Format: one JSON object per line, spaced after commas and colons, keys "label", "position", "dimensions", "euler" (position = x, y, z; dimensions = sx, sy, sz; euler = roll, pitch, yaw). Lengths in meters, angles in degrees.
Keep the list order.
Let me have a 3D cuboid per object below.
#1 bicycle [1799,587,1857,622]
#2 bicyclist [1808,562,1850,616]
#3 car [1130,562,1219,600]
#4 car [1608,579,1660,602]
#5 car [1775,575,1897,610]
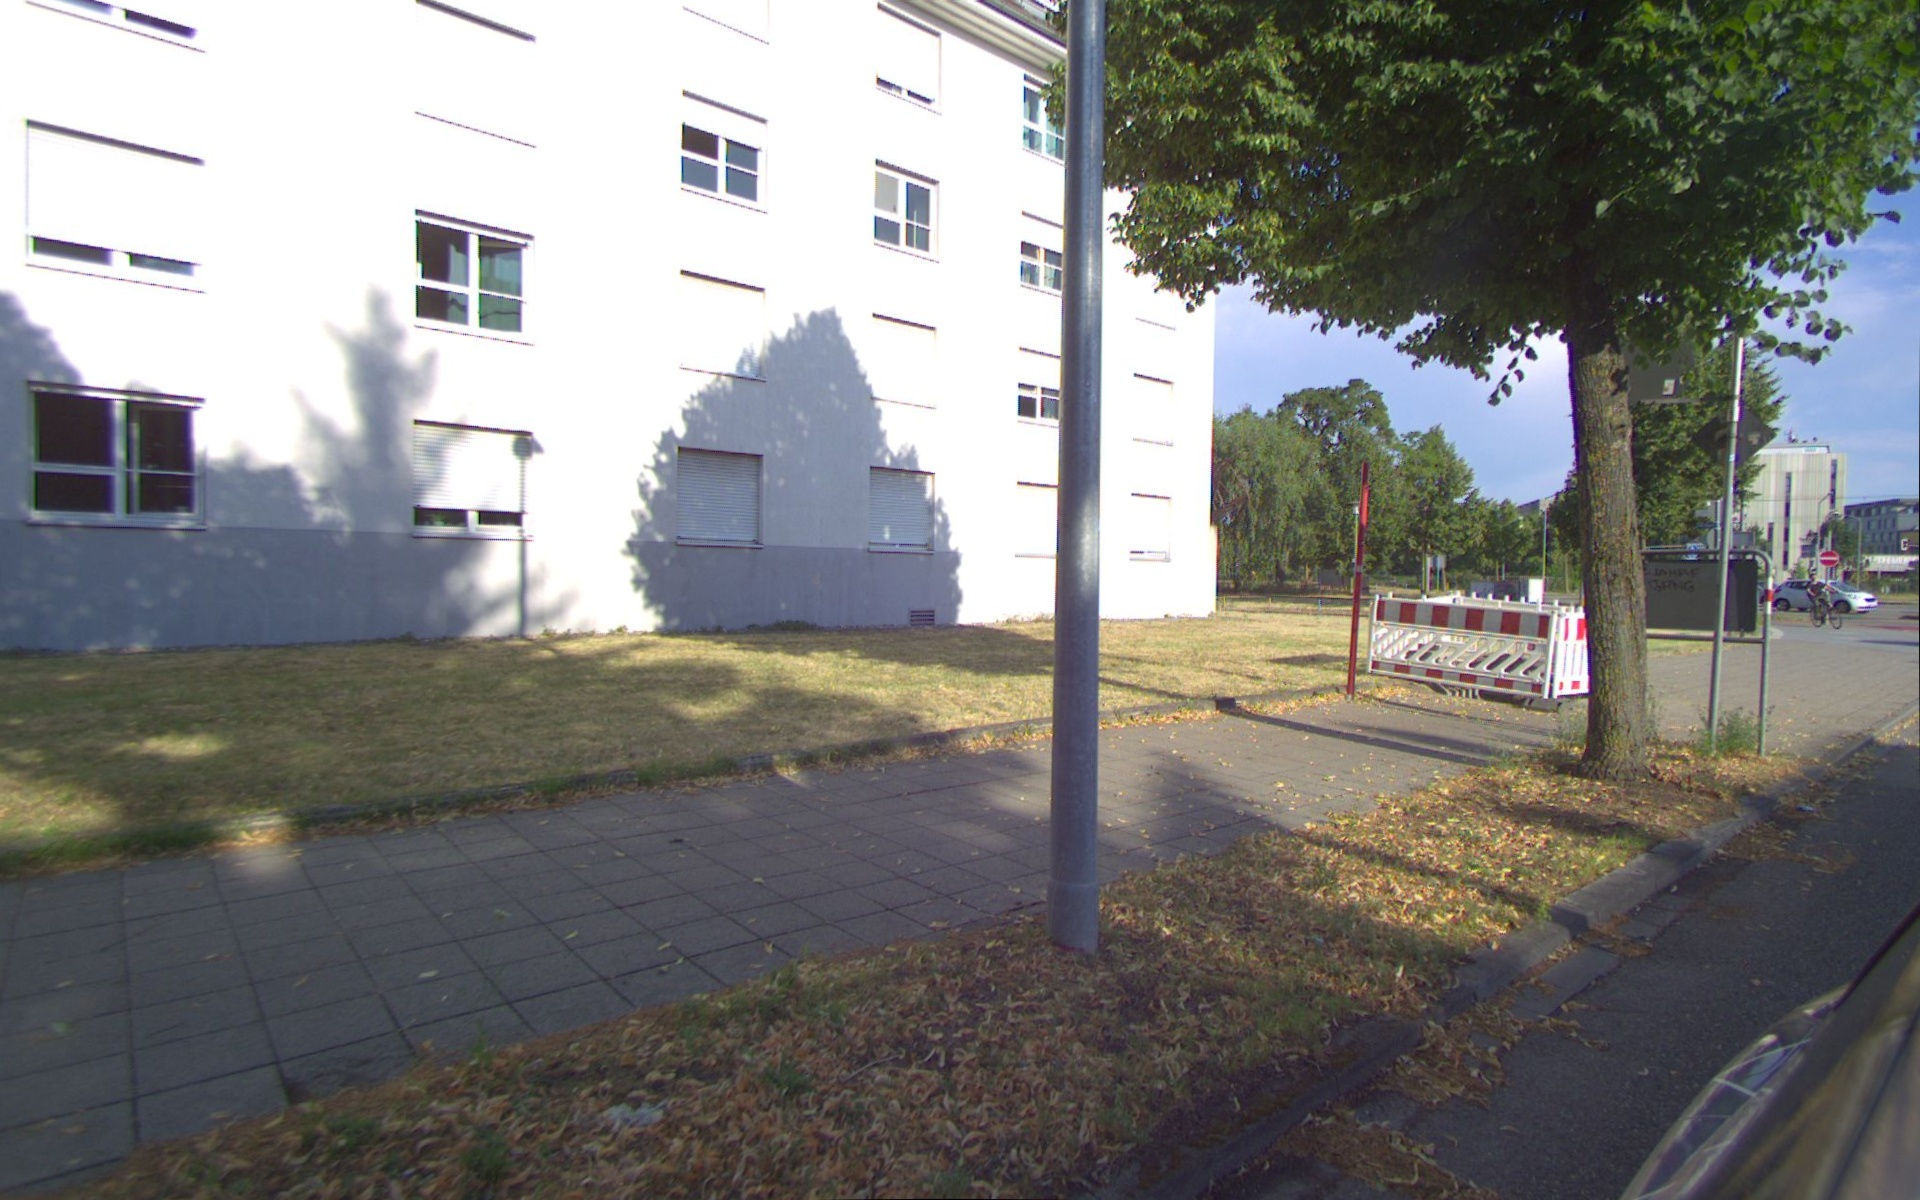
{"label": "bicycle", "position": [30.196, 0.141, 35.257], "dimensions": [0.631, 1.137, 2.116], "euler": [1, 2, 15]}
{"label": "bicyclist", "position": [30.204, -0.392, 35.195], "dimensions": [0.718, 1.823, 0.934], "euler": [1, 2, 15]}
{"label": "car", "position": [12.068, -1.114, 56.808], "dimensions": [5.128, 2.038, 2.267], "euler": [-2, 3, -41]}
{"label": "car", "position": [45.034, -0.635, 67.694], "dimensions": [2.072, 1.401, 4.554], "euler": [2, 2, 24]}
{"label": "car", "position": [42.912, -0.382, 49.674], "dimensions": [1.872, 1.570, 4.057], "euler": [1, 2, -22]}
